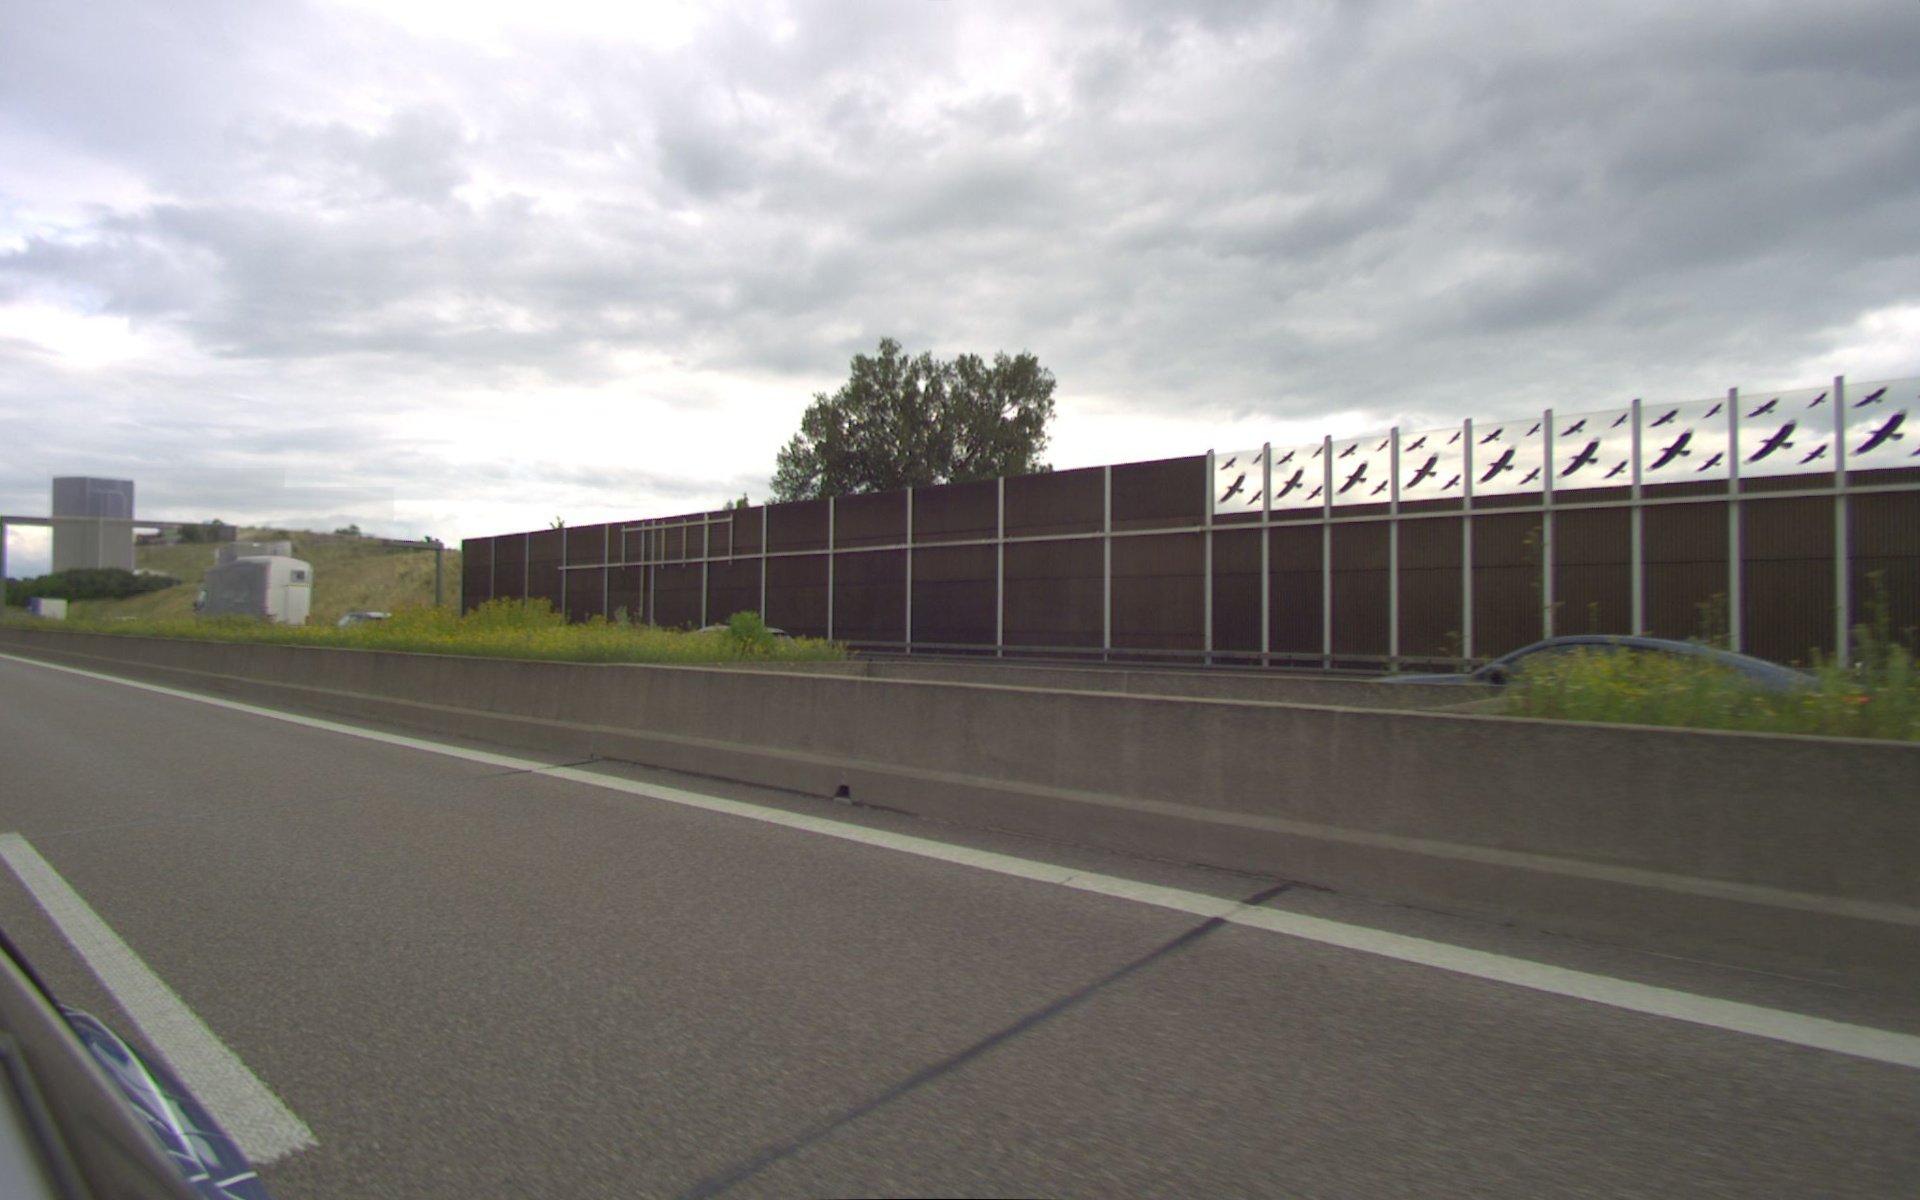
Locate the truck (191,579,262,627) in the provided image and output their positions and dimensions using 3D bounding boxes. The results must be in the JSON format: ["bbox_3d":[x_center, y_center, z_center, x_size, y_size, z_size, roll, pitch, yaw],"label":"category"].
[{"bbox_3d":[-51.926,0.281,71.629,5.978,3.251,2.795,-1,-1,41],"label":"truck"}]

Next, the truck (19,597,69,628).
[{"bbox_3d":[-114.371,1.592,126.281,10.929,3.630,3.225,-1,-1,41],"label":"truck"}]

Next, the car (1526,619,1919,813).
[{"bbox_3d":[7.405,0.915,8.922,3.996,1.498,1.688,-1,-2,39],"label":"car"}]

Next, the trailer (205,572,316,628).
[{"bbox_3d":[-46.318,0.086,66.711,13.503,3.402,2.790,-1,-1,41],"label":"trailer"}]

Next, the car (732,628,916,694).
[{"bbox_3d":[-3.001,1.256,21.863,3.996,1.267,1.688,-1,-1,39],"label":"car"}]
